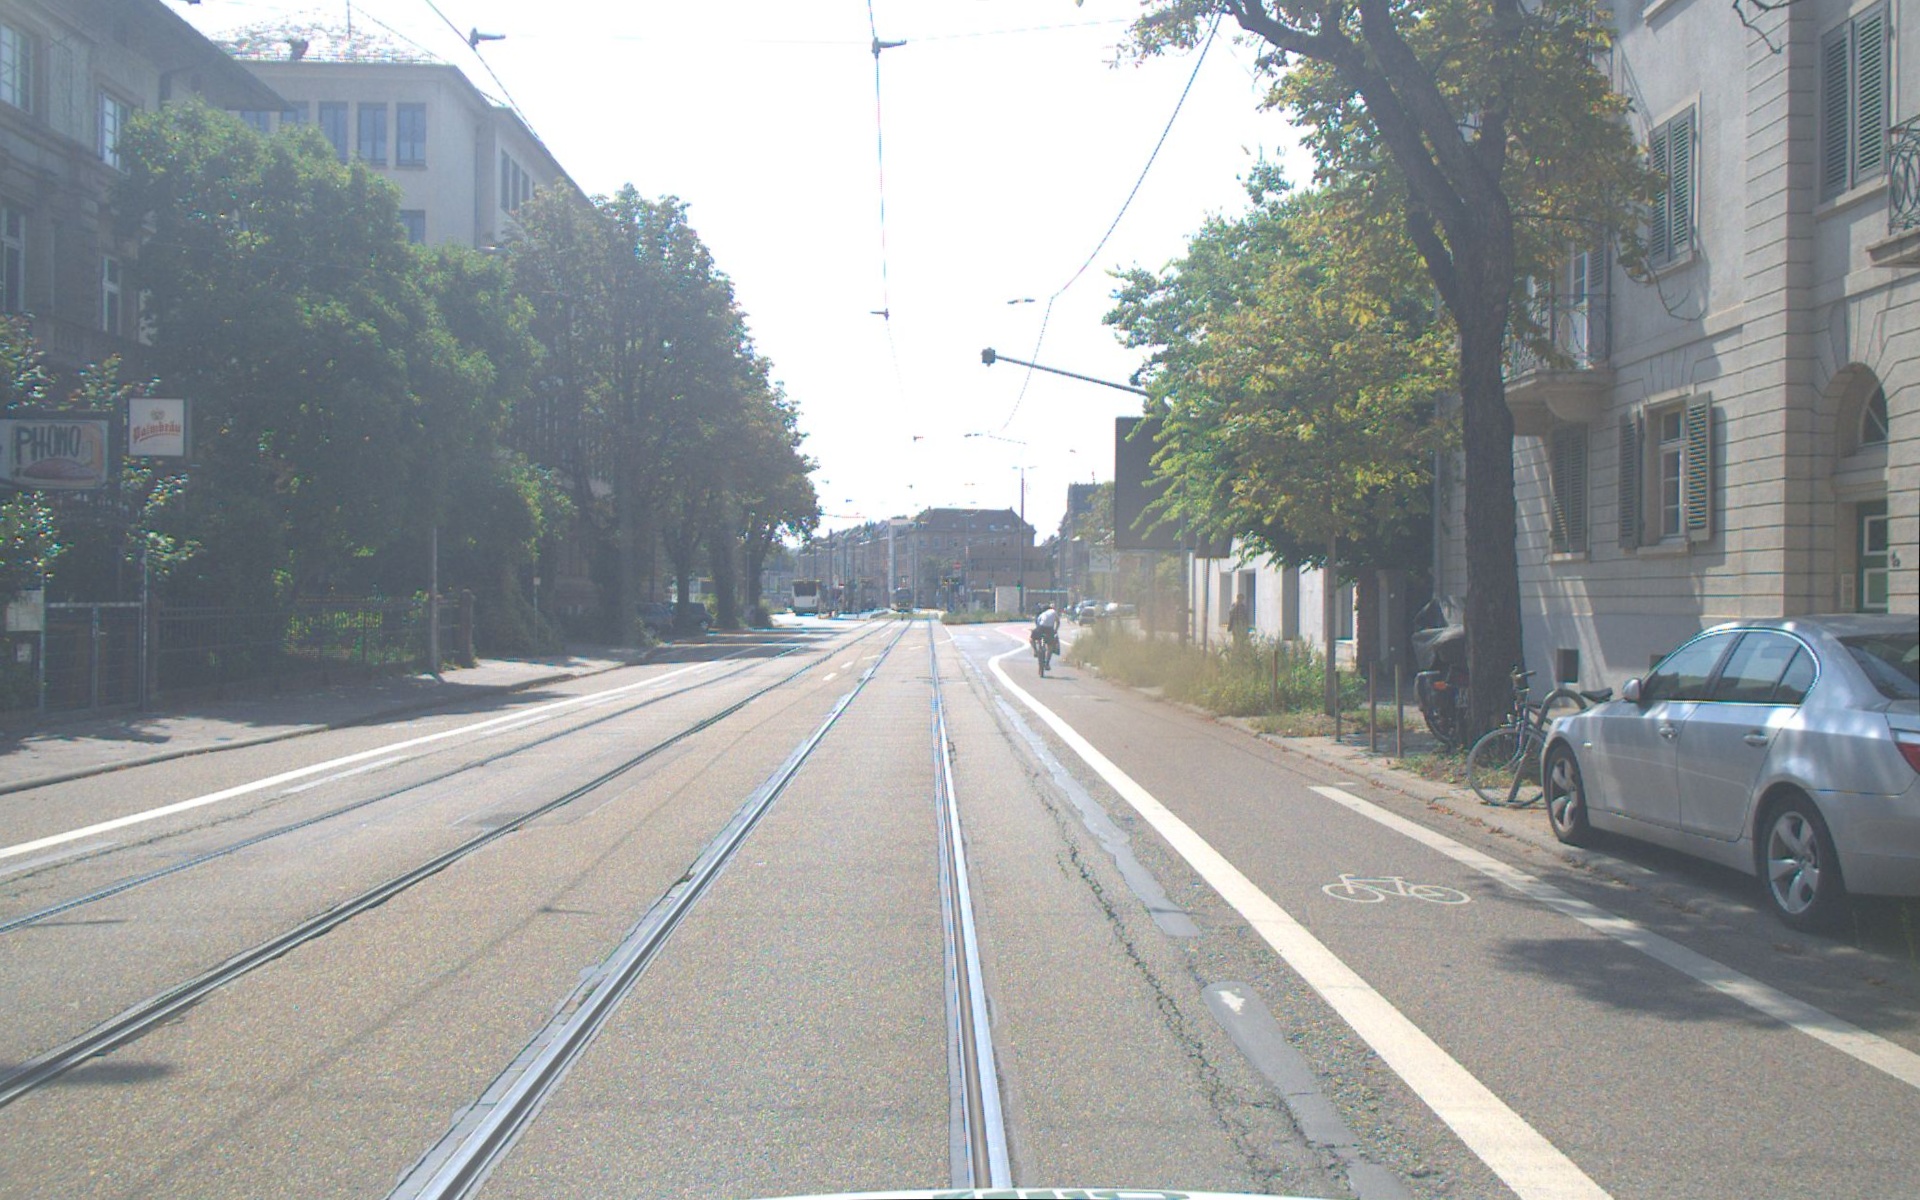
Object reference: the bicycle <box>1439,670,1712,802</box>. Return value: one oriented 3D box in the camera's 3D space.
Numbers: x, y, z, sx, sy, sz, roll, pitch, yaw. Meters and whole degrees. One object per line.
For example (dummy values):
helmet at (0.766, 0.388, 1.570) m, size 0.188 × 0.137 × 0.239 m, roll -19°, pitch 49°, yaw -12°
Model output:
bicycle at (4.816, 1.056, 13.027) m, size 1.883 × 0.969 × 0.721 m, roll 0°, pitch 0°, yaw 2°

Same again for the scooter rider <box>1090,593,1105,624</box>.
scooter rider at (7.901, 0.496, 95.287) m, size 0.746 × 1.806 × 0.555 m, roll 0°, pitch 0°, yaw 16°

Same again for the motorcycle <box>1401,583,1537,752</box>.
motorcycle at (5.069, 0.632, 16.637) m, size 0.867 × 1.580 × 2.413 m, roll 0°, pitch 0°, yaw 7°

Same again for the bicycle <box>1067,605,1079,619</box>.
bicycle at (8.857, 0.925, 129.889) m, size 0.435 × 1.136 × 1.444 m, roll 0°, pitch 0°, yaw 27°

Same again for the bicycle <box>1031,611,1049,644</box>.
bicycle at (2.991, 1.029, 62.007) m, size 0.591 × 1.183 × 1.811 m, roll 0°, pitch 0°, yaw 5°

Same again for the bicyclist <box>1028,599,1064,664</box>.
bicyclist at (1.922, 0.701, 37.117) m, size 0.730 × 1.436 × 0.961 m, roll 1°, pitch 0°, yaw -1°

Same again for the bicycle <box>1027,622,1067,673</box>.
bicycle at (1.934, 1.051, 37.064) m, size 0.724 × 1.067 × 2.232 m, roll 1°, pitch 0°, yaw -1°

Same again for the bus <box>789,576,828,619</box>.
bus at (-14.306, -0.235, 156.810) m, size 2.898 × 3.841 × 10.592 m, roll 1°, pitch 0°, yaw -2°

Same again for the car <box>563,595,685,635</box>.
car at (-13.214, 0.604, 65.091) m, size 4.364 × 1.487 × 1.804 m, roll 1°, pitch 0°, yaw -28°

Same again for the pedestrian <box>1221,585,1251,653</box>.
pedestrian at (7.141, 0.486, 42.840) m, size 0.677 × 1.762 × 0.579 m, roll 0°, pitch 0°, yaw 1°

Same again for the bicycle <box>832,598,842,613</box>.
bicycle at (-10.670, 0.471, 143.563) m, size 0.594 × 1.244 × 1.706 m, roll 0°, pitch 0°, yaw 3°

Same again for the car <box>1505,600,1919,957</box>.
car at (4.807, 0.757, 9.188) m, size 1.747 × 1.476 × 4.748 m, roll 0°, pitch 0°, yaw -3°

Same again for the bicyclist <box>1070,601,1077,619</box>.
bicyclist at (8.930, 0.772, 130.022) m, size 0.441 × 1.446 × 0.495 m, roll 0°, pitch 0°, yaw 27°

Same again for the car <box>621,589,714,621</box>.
car at (-14.165, 0.235, 80.216) m, size 4.122 × 1.522 × 1.796 m, roll 0°, pitch 0°, yaw -39°

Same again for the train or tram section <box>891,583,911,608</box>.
train or tram section at (-8.893, -0.589, 249.622) m, size 2.798 × 3.610 × 17.736 m, roll 1°, pitch 0°, yaw -1°

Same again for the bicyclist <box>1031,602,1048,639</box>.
bicyclist at (2.983, 0.762, 62.039) m, size 0.590 × 1.358 × 0.660 m, roll 0°, pitch 0°, yaw 4°

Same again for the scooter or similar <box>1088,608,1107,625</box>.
scooter or similar at (7.893, 0.940, 94.892) m, size 0.756 × 0.943 × 1.621 m, roll 1°, pitch 0°, yaw 16°

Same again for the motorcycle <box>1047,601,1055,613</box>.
motorcycle at (9.211, 0.730, 167.618) m, size 0.591 × 1.232 × 2.255 m, roll 0°, pitch 0°, yaw 10°

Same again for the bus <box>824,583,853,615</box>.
bus at (-14.783, -0.090, 202.028) m, size 2.654 × 3.792 × 10.418 m, roll 1°, pitch 0°, yaw 0°
